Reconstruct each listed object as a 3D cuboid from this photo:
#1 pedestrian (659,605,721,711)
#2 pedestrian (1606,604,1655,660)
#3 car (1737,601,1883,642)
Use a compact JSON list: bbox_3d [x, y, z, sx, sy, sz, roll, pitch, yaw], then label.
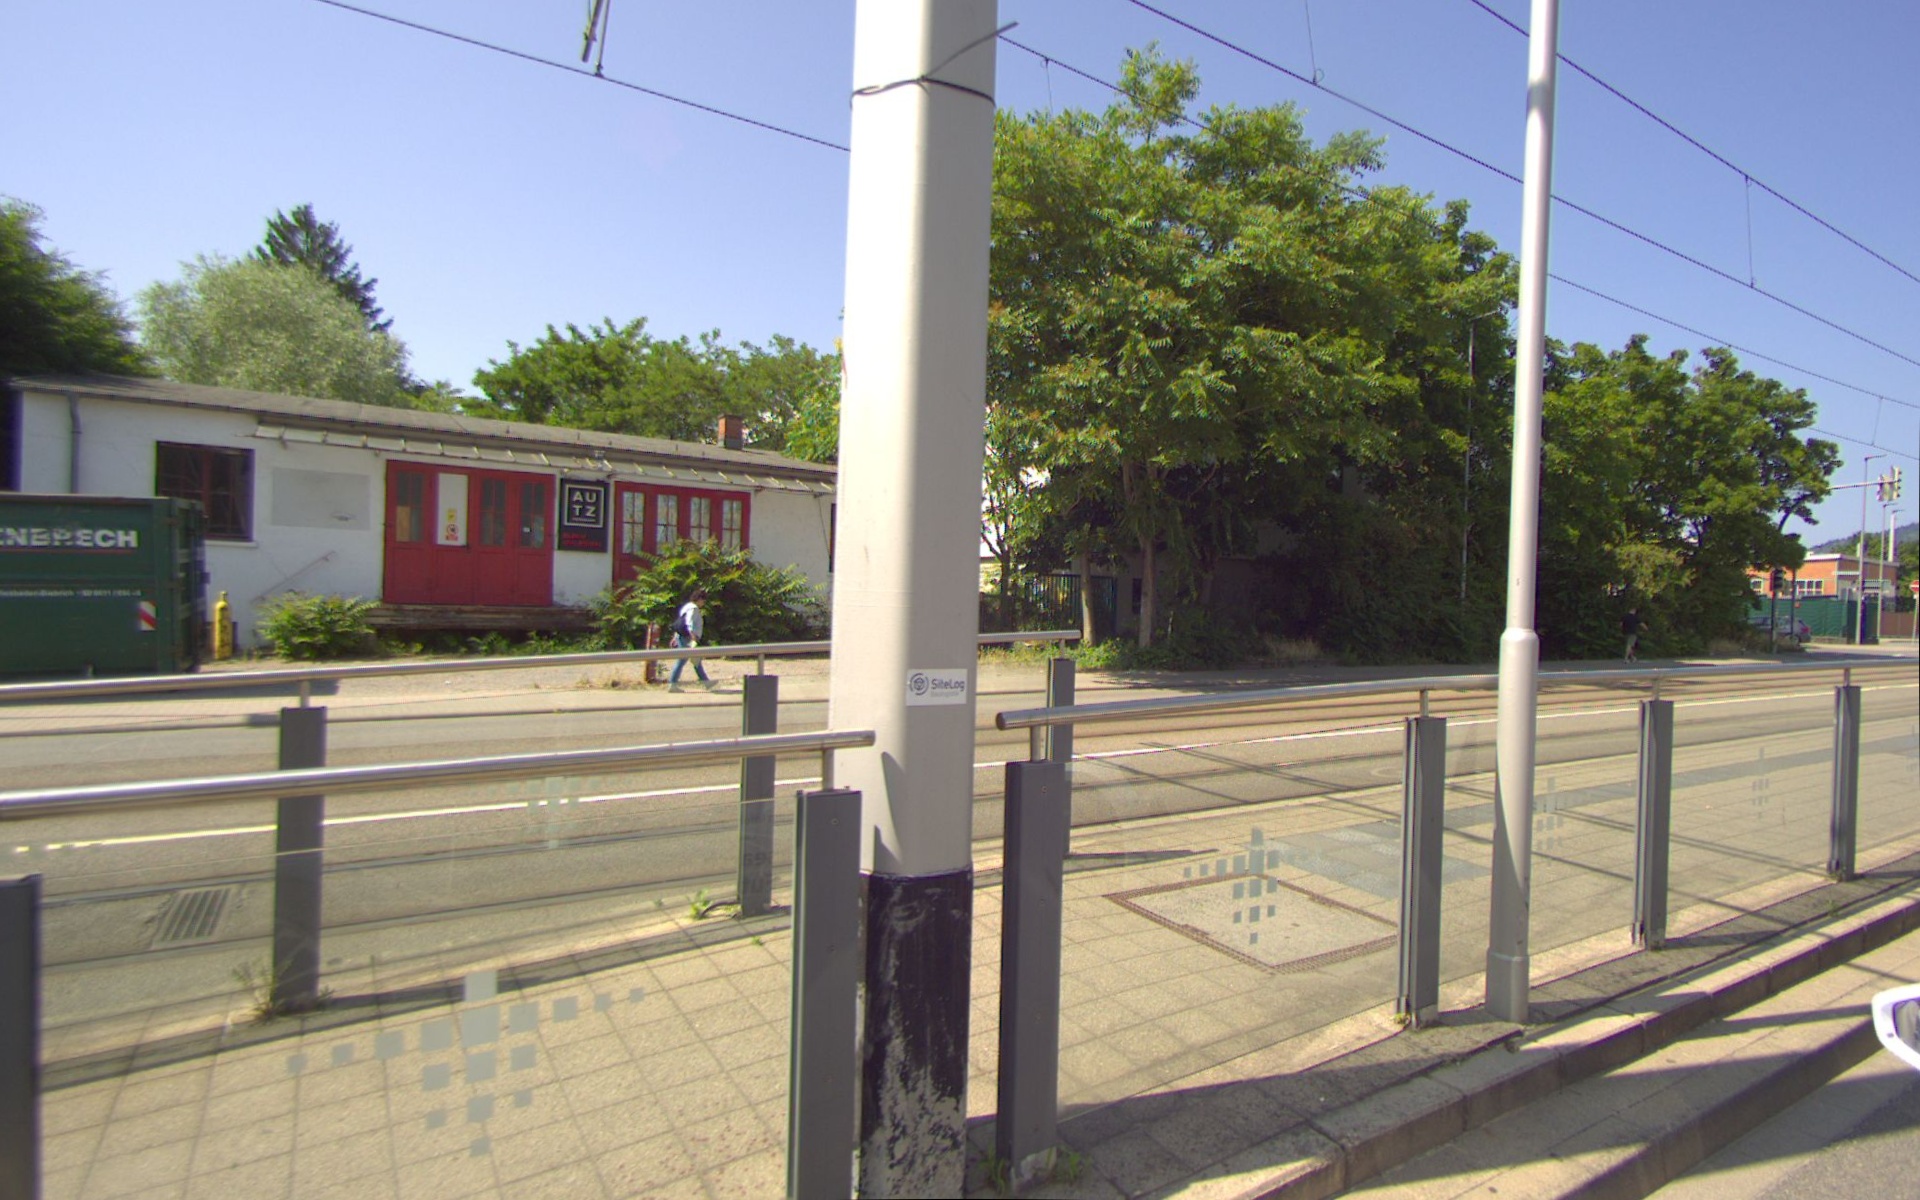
[{"bbox_3d":[-4.112,0.855,15.254,0.833,1.547,0.869,0,0,-20],"label":"pedestrian"},{"bbox_3d":[20.709,0.983,31.014,1.147,1.692,0.881,1,0,-33],"label":"pedestrian"},{"bbox_3d":[40.084,0.999,47.498,4.811,1.862,2.102,0,-1,14],"label":"car"}]
